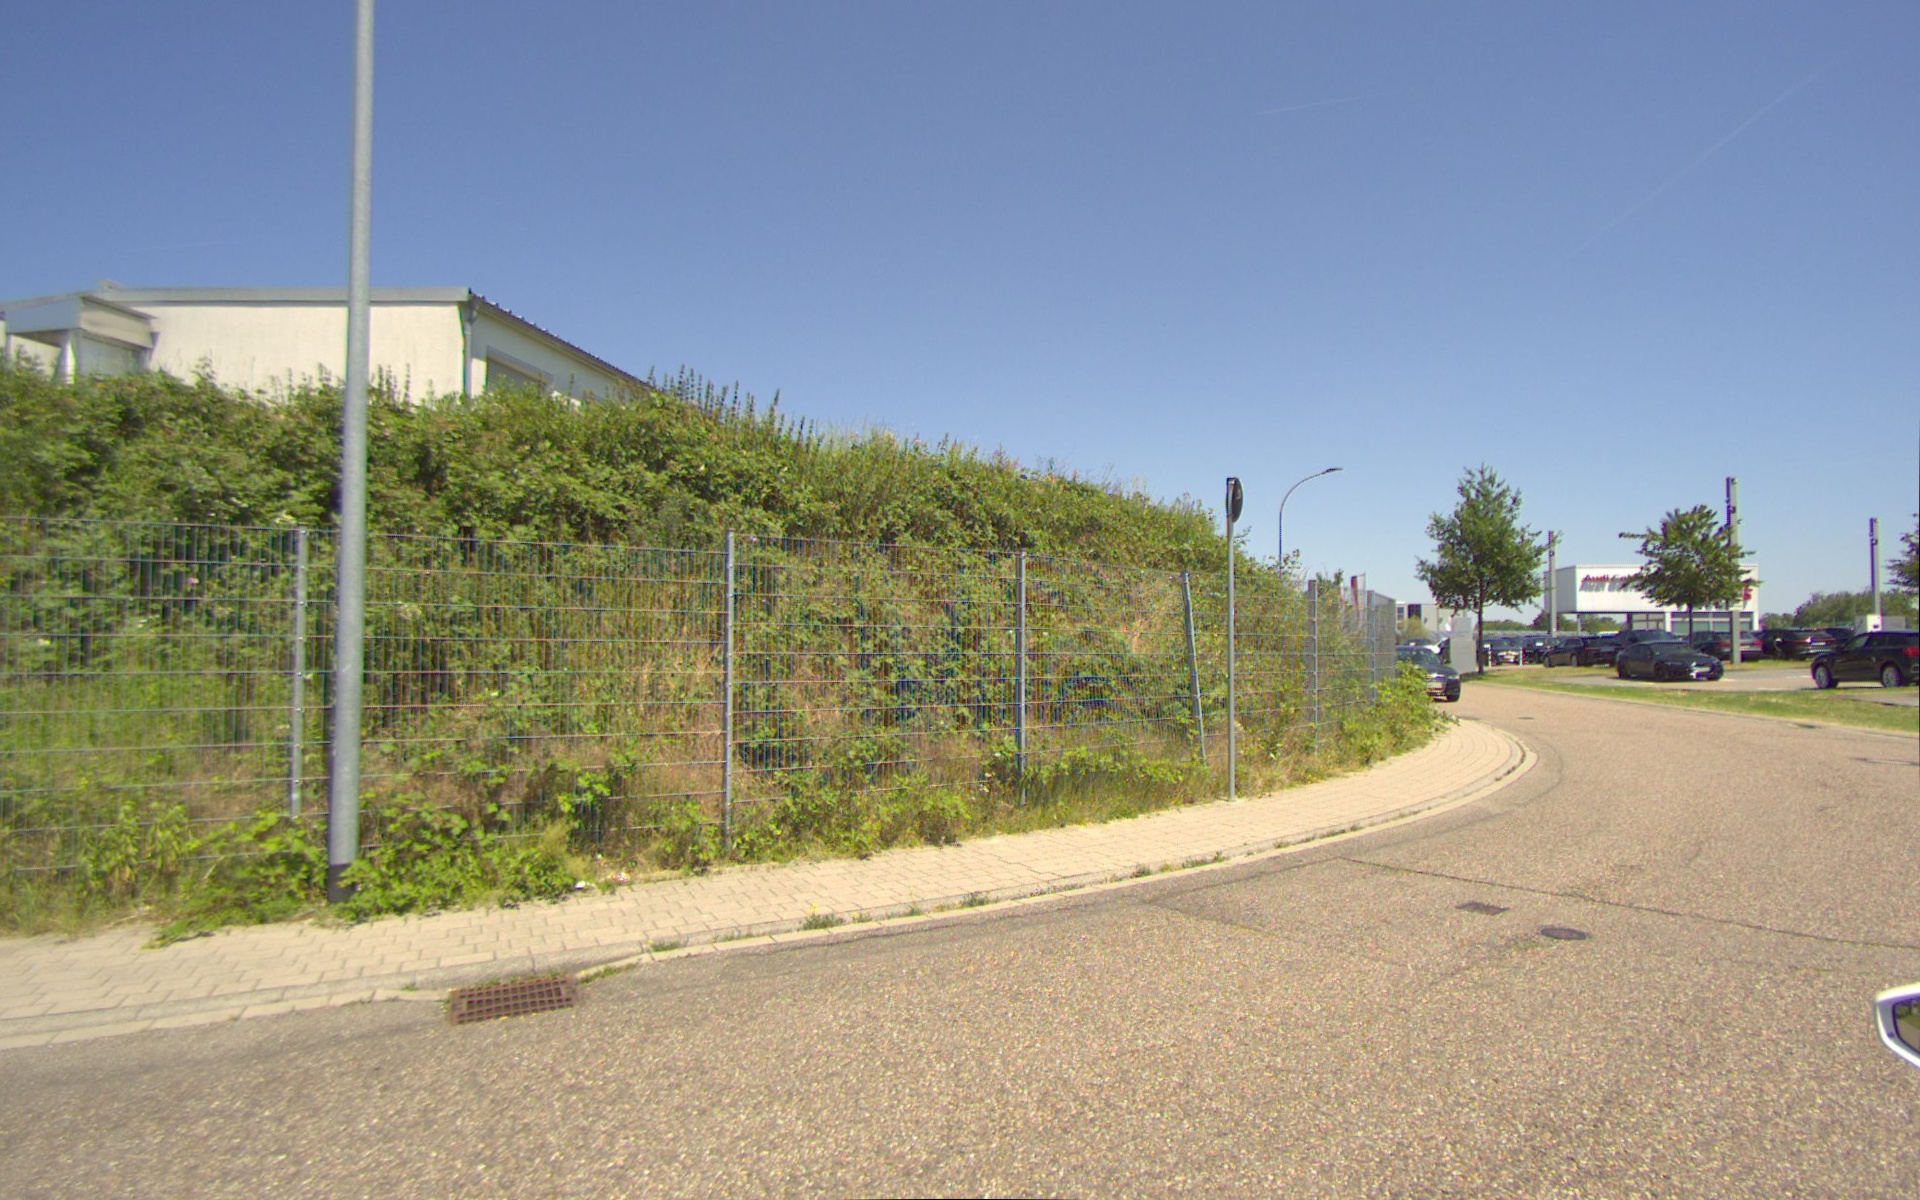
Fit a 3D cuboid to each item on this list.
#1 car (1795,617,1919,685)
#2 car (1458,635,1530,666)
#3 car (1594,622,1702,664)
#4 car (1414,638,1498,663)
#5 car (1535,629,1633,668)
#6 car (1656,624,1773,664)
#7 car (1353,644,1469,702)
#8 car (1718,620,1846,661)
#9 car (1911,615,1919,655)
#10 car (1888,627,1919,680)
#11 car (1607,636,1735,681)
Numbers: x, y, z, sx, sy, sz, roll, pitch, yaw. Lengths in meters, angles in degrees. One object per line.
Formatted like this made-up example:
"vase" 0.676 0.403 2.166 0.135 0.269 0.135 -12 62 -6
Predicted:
"car" 24.172 1.283 26.077 1.855 1.591 4.231 -4 -3 9
"car" 29.527 2.802 55.758 1.990 1.534 5.244 -4 -3 11
"car" 29.944 1.934 43.915 1.928 1.618 4.992 -2 -5 10
"car" 32.385 3.293 65.685 4.451 1.476 2.033 -2 -3 9
"car" 27.368 2.188 44.270 1.928 1.475 4.992 -2 -5 10
"car" 32.221 1.924 43.111 1.928 1.475 4.992 -2 -5 10
"car" 12.451 1.989 28.042 1.793 1.473 4.585 -1 -3 9
"car" 34.587 1.757 42.483 1.928 1.475 4.992 -2 -5 10
"car" 40.820 1.274 39.883 1.928 1.641 4.992 -2 -5 10
"car" 26.341 1.316 25.556 1.928 1.384 4.231 -4 -3 9
"car" 25.748 2.082 36.602 1.928 1.384 4.724 -4 -2 10
